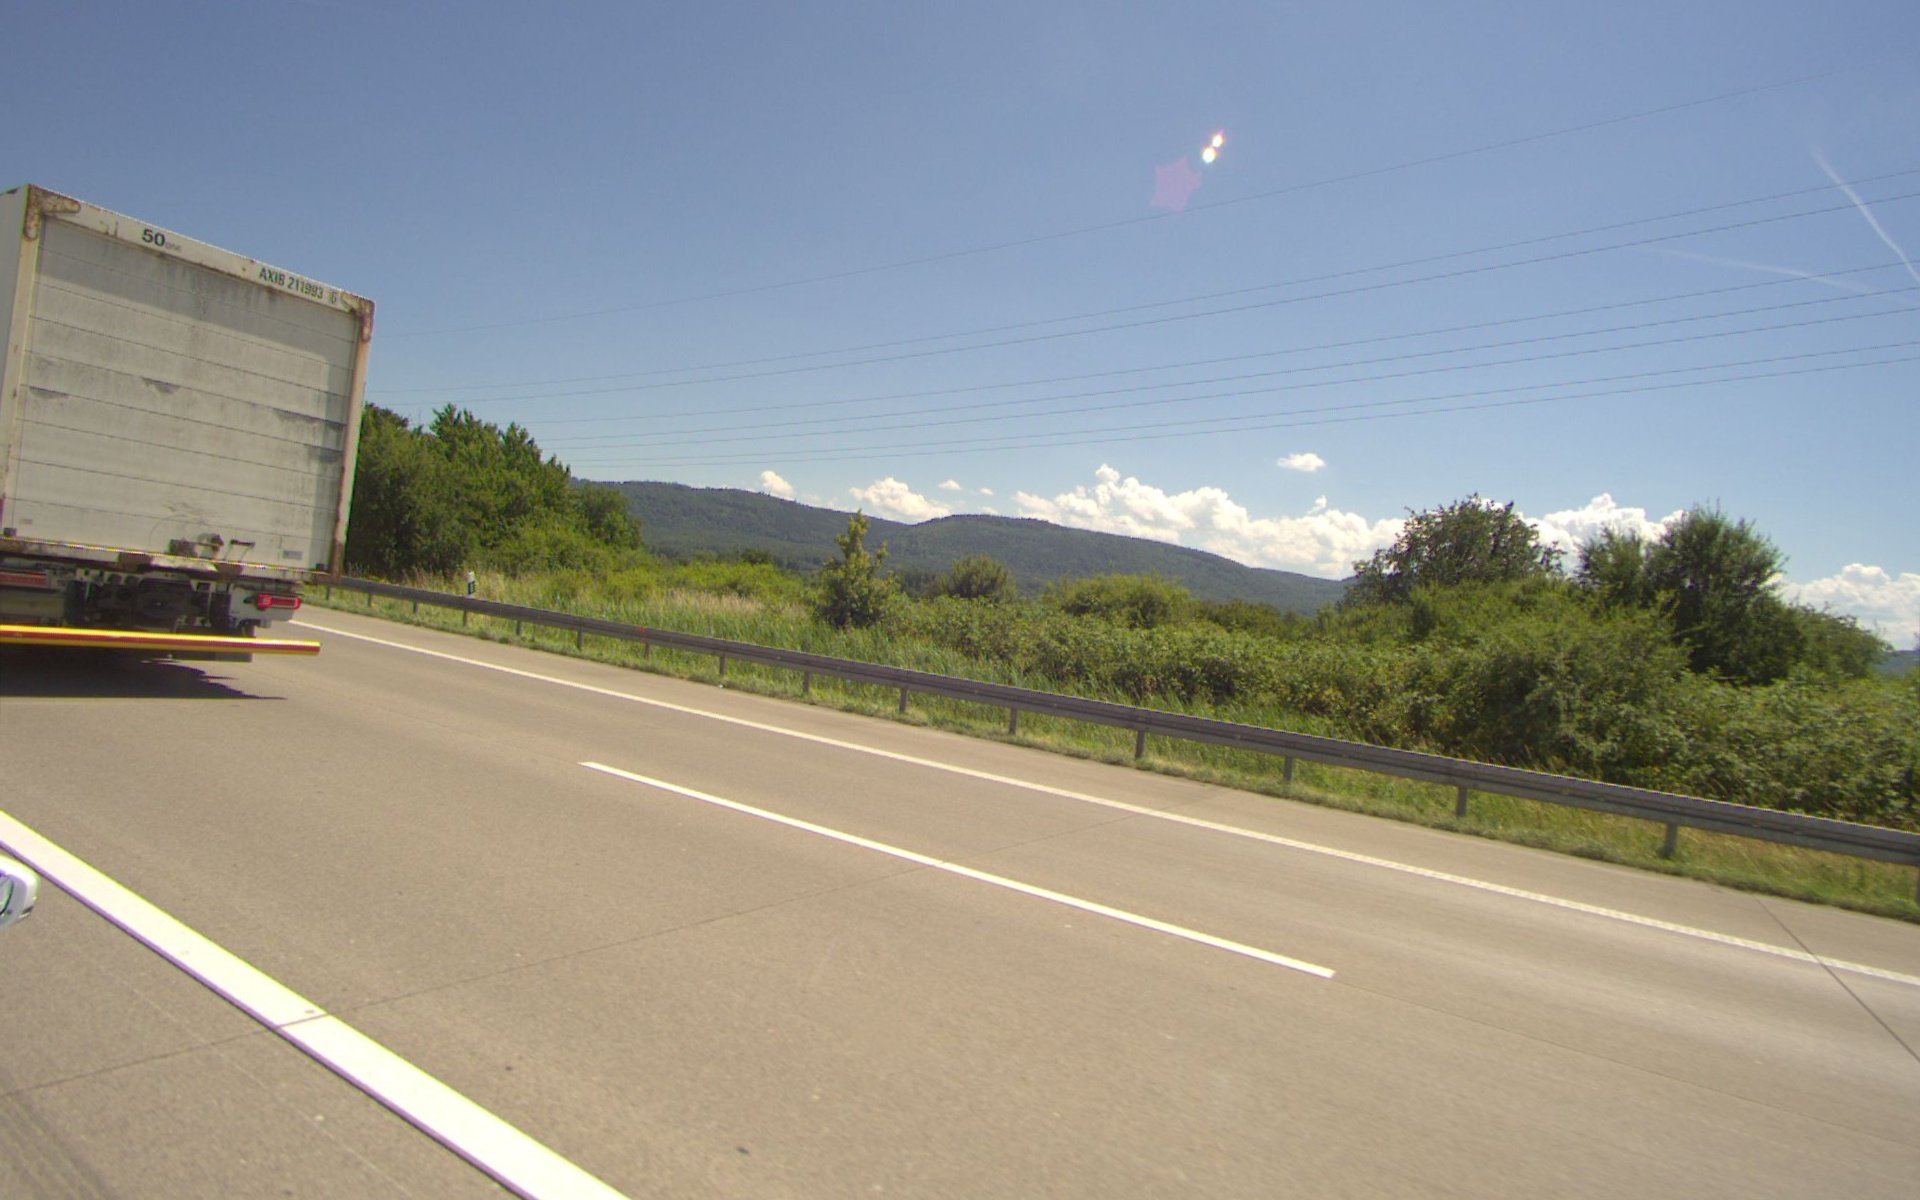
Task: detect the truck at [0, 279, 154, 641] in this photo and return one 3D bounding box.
[{"bbox_3d":[-12.836,-1.812,12.446,4.901,3.923,2.586,7,-1,31],"label":"truck"}]

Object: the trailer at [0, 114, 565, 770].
[{"bbox_3d":[-8.448,-1.311,9.721,10.200,3.923,2.586,7,-1,31],"label":"trailer"}]
